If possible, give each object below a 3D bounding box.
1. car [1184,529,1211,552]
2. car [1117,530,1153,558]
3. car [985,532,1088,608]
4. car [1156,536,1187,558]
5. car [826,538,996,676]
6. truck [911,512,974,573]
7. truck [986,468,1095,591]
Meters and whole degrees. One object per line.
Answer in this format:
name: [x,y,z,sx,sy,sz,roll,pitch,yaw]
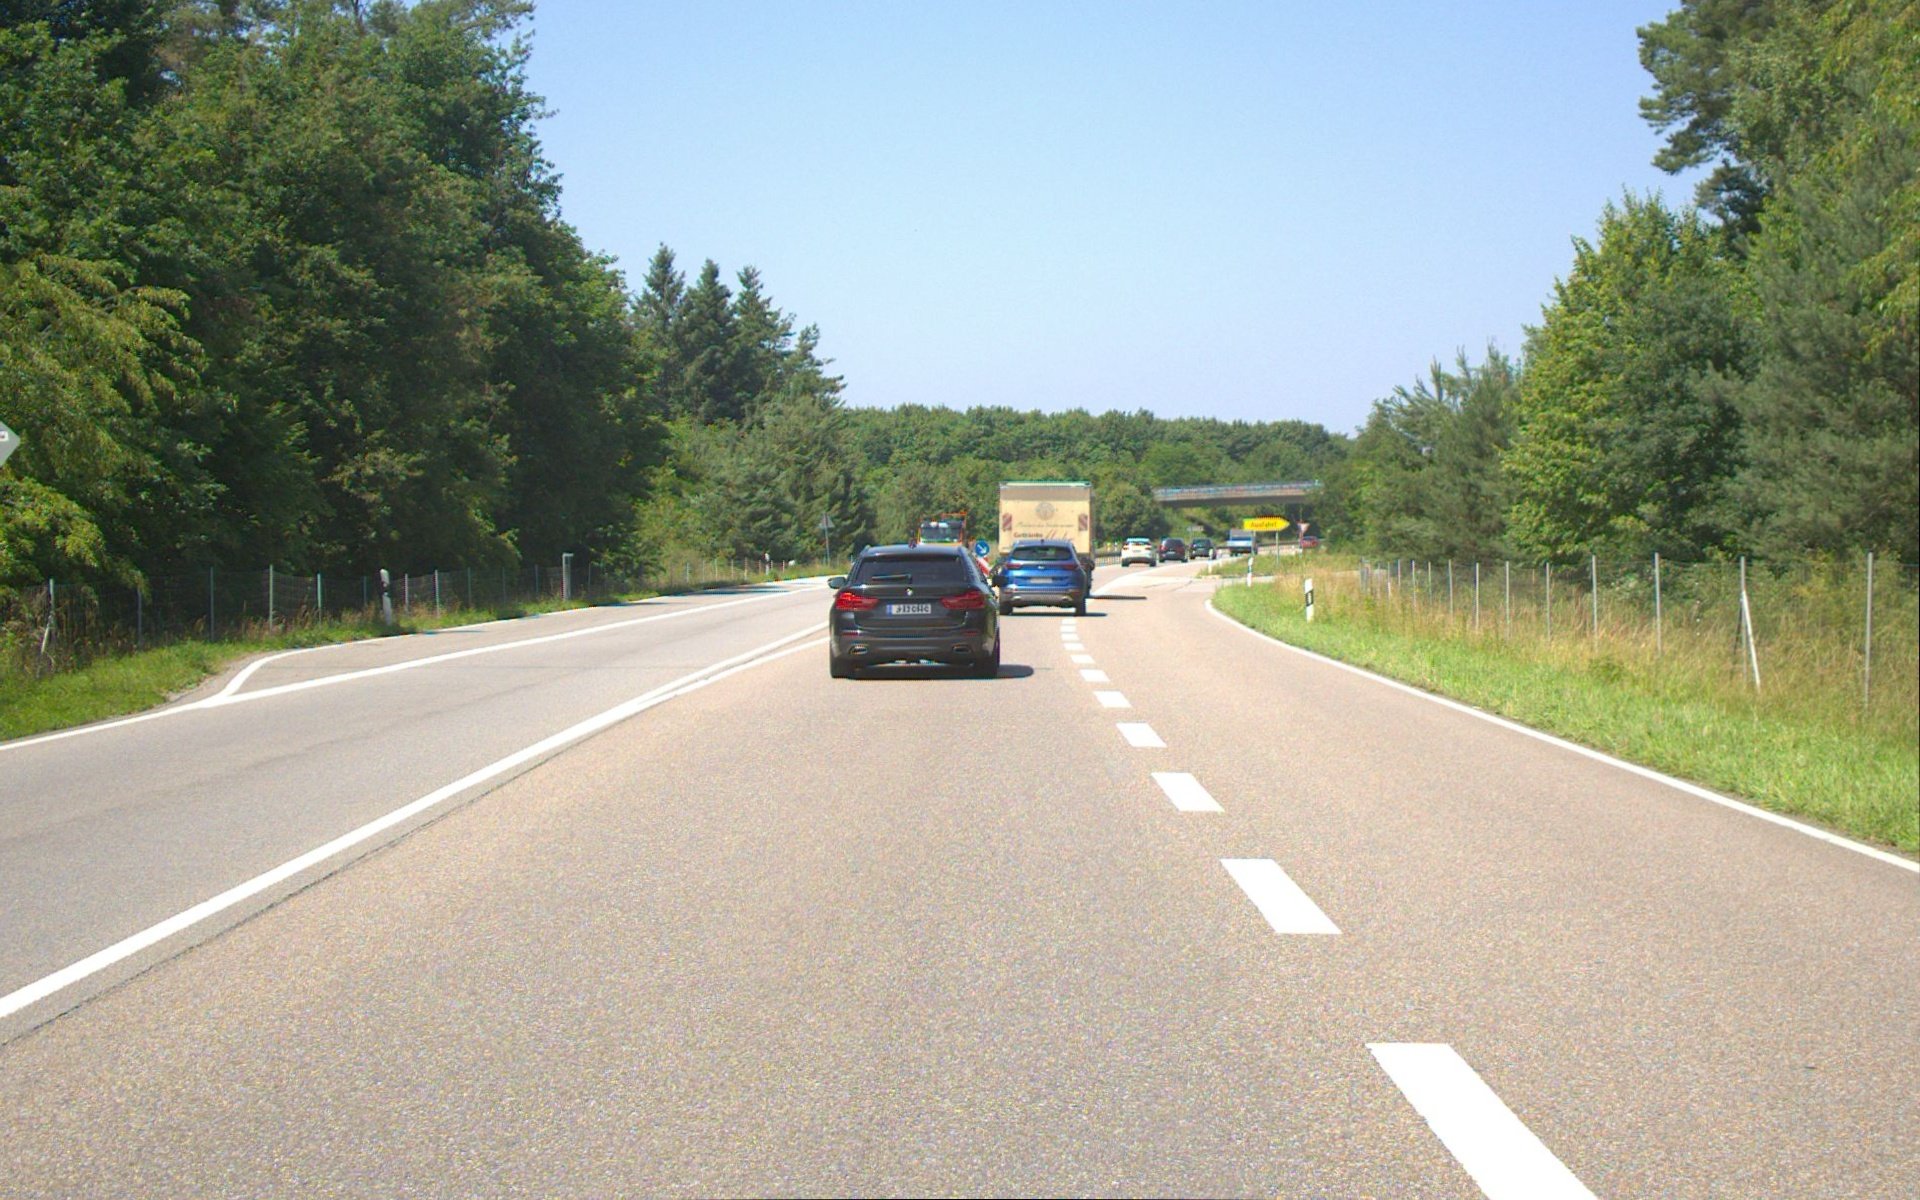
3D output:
car: [17.820,-4.457,258.284,1.994,1.631,4.000,-1,1,4]
car: [10.186,-3.267,200.175,1.863,1.600,4.000,0,1,0]
car: [1.614,-0.671,73.759,1.947,1.536,4.001,-1,1,-2]
car: [14.118,-3.558,230.029,1.994,1.415,4.000,1,1,2]
car: [-0.603,0.038,39.117,1.820,1.465,4.001,-1,1,-2]
truck: [-0.766,-2.610,156.078,2.399,2.713,6.551,0,1,4]
truck: [2.270,-2.021,97.837,2.965,3.376,6.438,0,1,1]
